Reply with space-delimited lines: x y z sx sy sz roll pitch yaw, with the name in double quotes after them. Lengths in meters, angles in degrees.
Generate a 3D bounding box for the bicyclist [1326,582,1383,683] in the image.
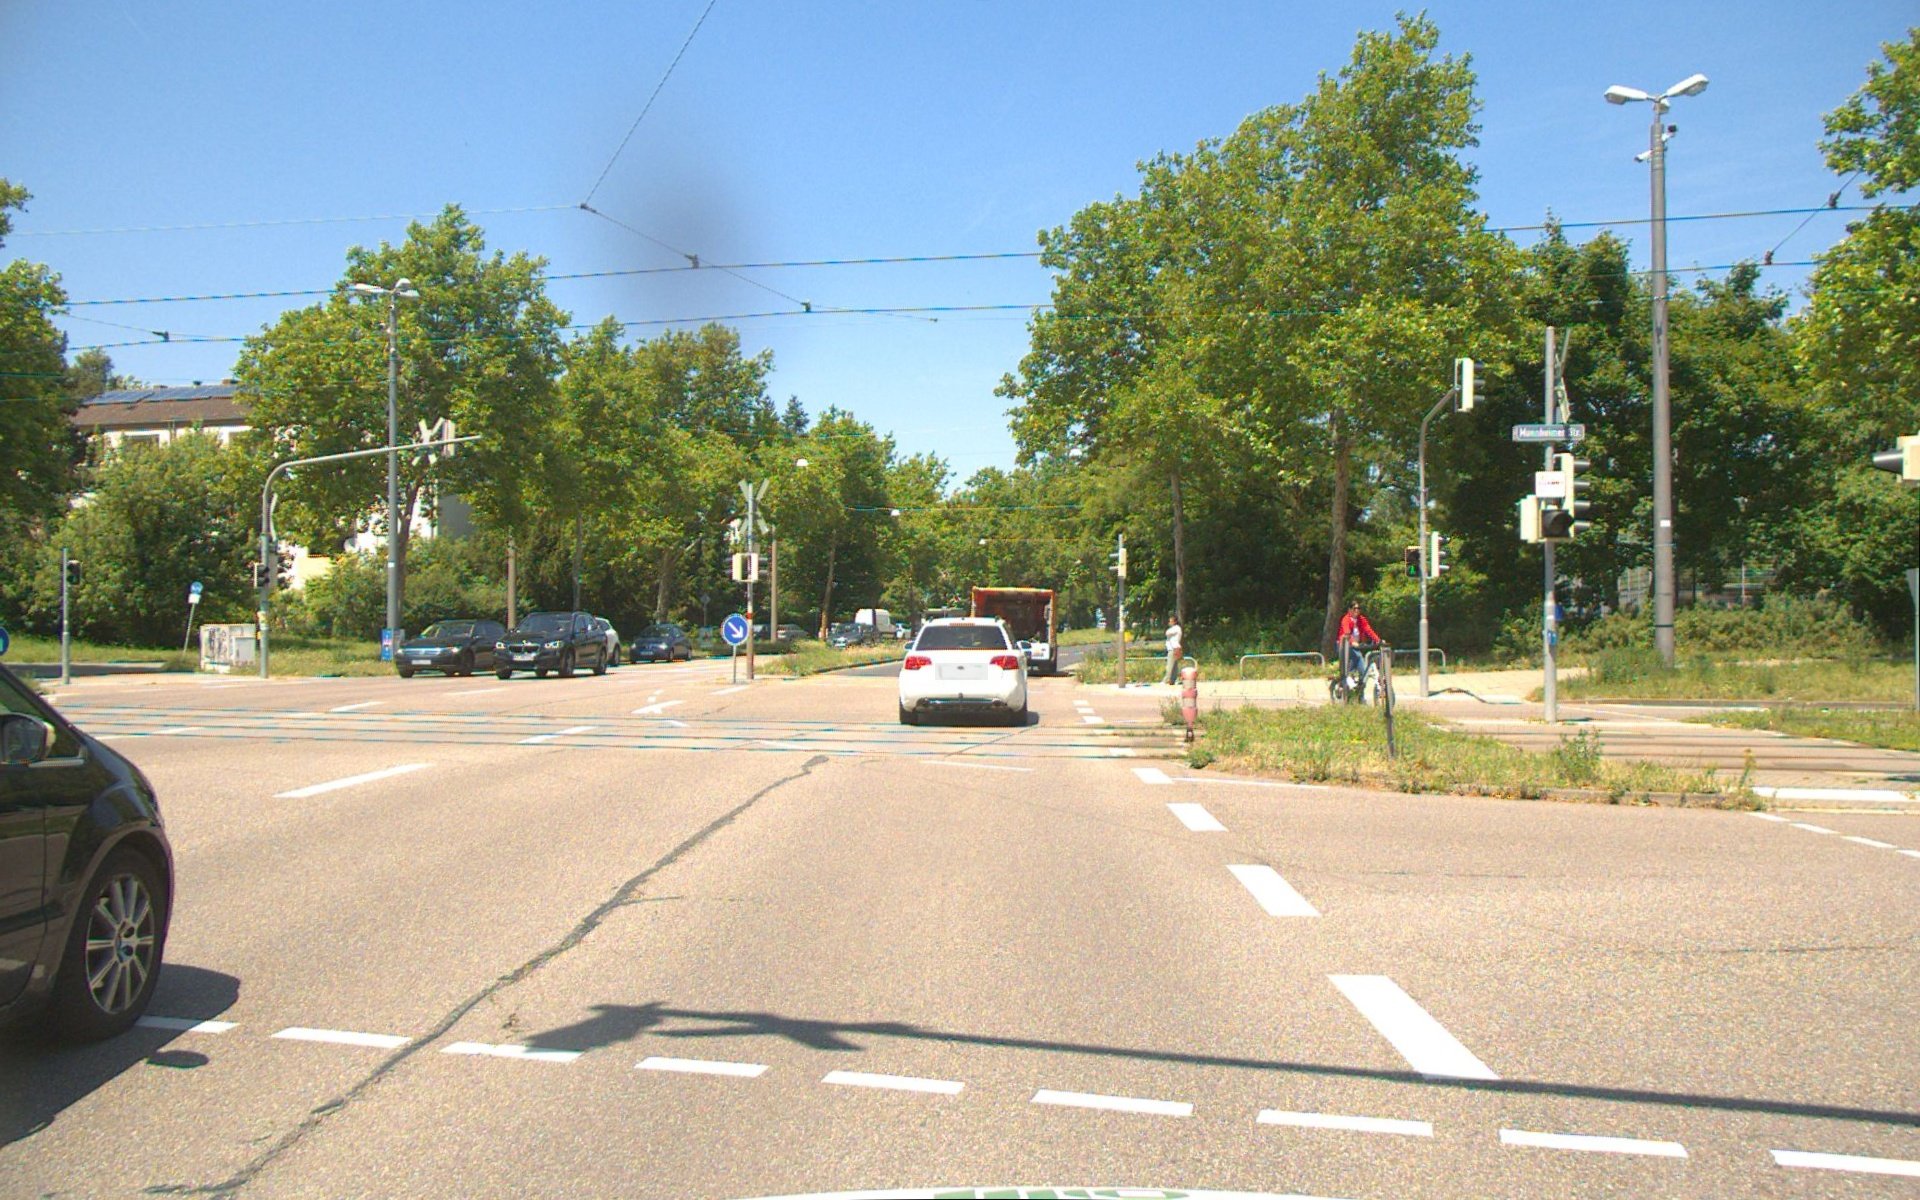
6.268 0.515 26.291 0.572 1.584 0.666 0 -1 -32 "bicyclist"

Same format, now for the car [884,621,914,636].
-5.393 2.501 146.408 1.657 1.306 3.805 0 -1 14 "car"

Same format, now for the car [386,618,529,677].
-13.303 1.225 44.122 1.908 1.465 4.749 0 0 7 "car"

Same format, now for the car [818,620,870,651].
-5.528 1.700 79.346 1.699 1.419 4.181 -2 -1 6 "car"

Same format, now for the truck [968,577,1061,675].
1.693 0.687 48.637 2.458 2.604 7.606 1 0 3 "truck"

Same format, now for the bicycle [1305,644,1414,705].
6.312 1.165 26.215 0.581 0.911 1.791 0 -1 -32 "bicycle"

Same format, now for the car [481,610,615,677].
-10.133 1.057 41.028 1.868 1.566 4.301 0 -1 6 "car"

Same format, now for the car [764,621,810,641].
-12.692 2.255 121.479 1.842 1.400 4.001 0 -1 18 "car"

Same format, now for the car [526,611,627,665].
-12.231 1.188 53.044 1.749 1.643 4.407 0 0 7 "car"

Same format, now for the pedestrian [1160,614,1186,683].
4.739 1.063 36.762 0.541 1.510 0.630 0 -1 11 "pedestrian"

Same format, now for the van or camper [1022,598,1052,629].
8.420 1.457 180.783 2.604 3.390 5.504 0 -1 9 "van or camper"

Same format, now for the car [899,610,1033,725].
0.043 0.886 23.109 1.727 1.471 3.615 0 -1 -1 "car"

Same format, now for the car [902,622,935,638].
-3.829 2.763 152.177 1.790 1.415 3.948 0 -1 18 "car"

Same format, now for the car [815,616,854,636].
-9.936 2.060 131.244 1.841 1.500 4.003 0 -1 14 "car"

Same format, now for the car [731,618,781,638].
-14.283 1.955 116.131 1.843 1.417 4.000 0 -1 21 "car"

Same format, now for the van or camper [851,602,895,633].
-7.318 1.482 140.053 2.136 2.633 5.312 0 -1 15 "van or camper"

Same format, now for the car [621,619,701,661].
-11.156 1.467 61.898 1.683 1.481 3.872 0 0 10 "car"

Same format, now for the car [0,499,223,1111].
-3.702 0.585 3.925 1.816 1.786 4.648 1 0 0 "car"
